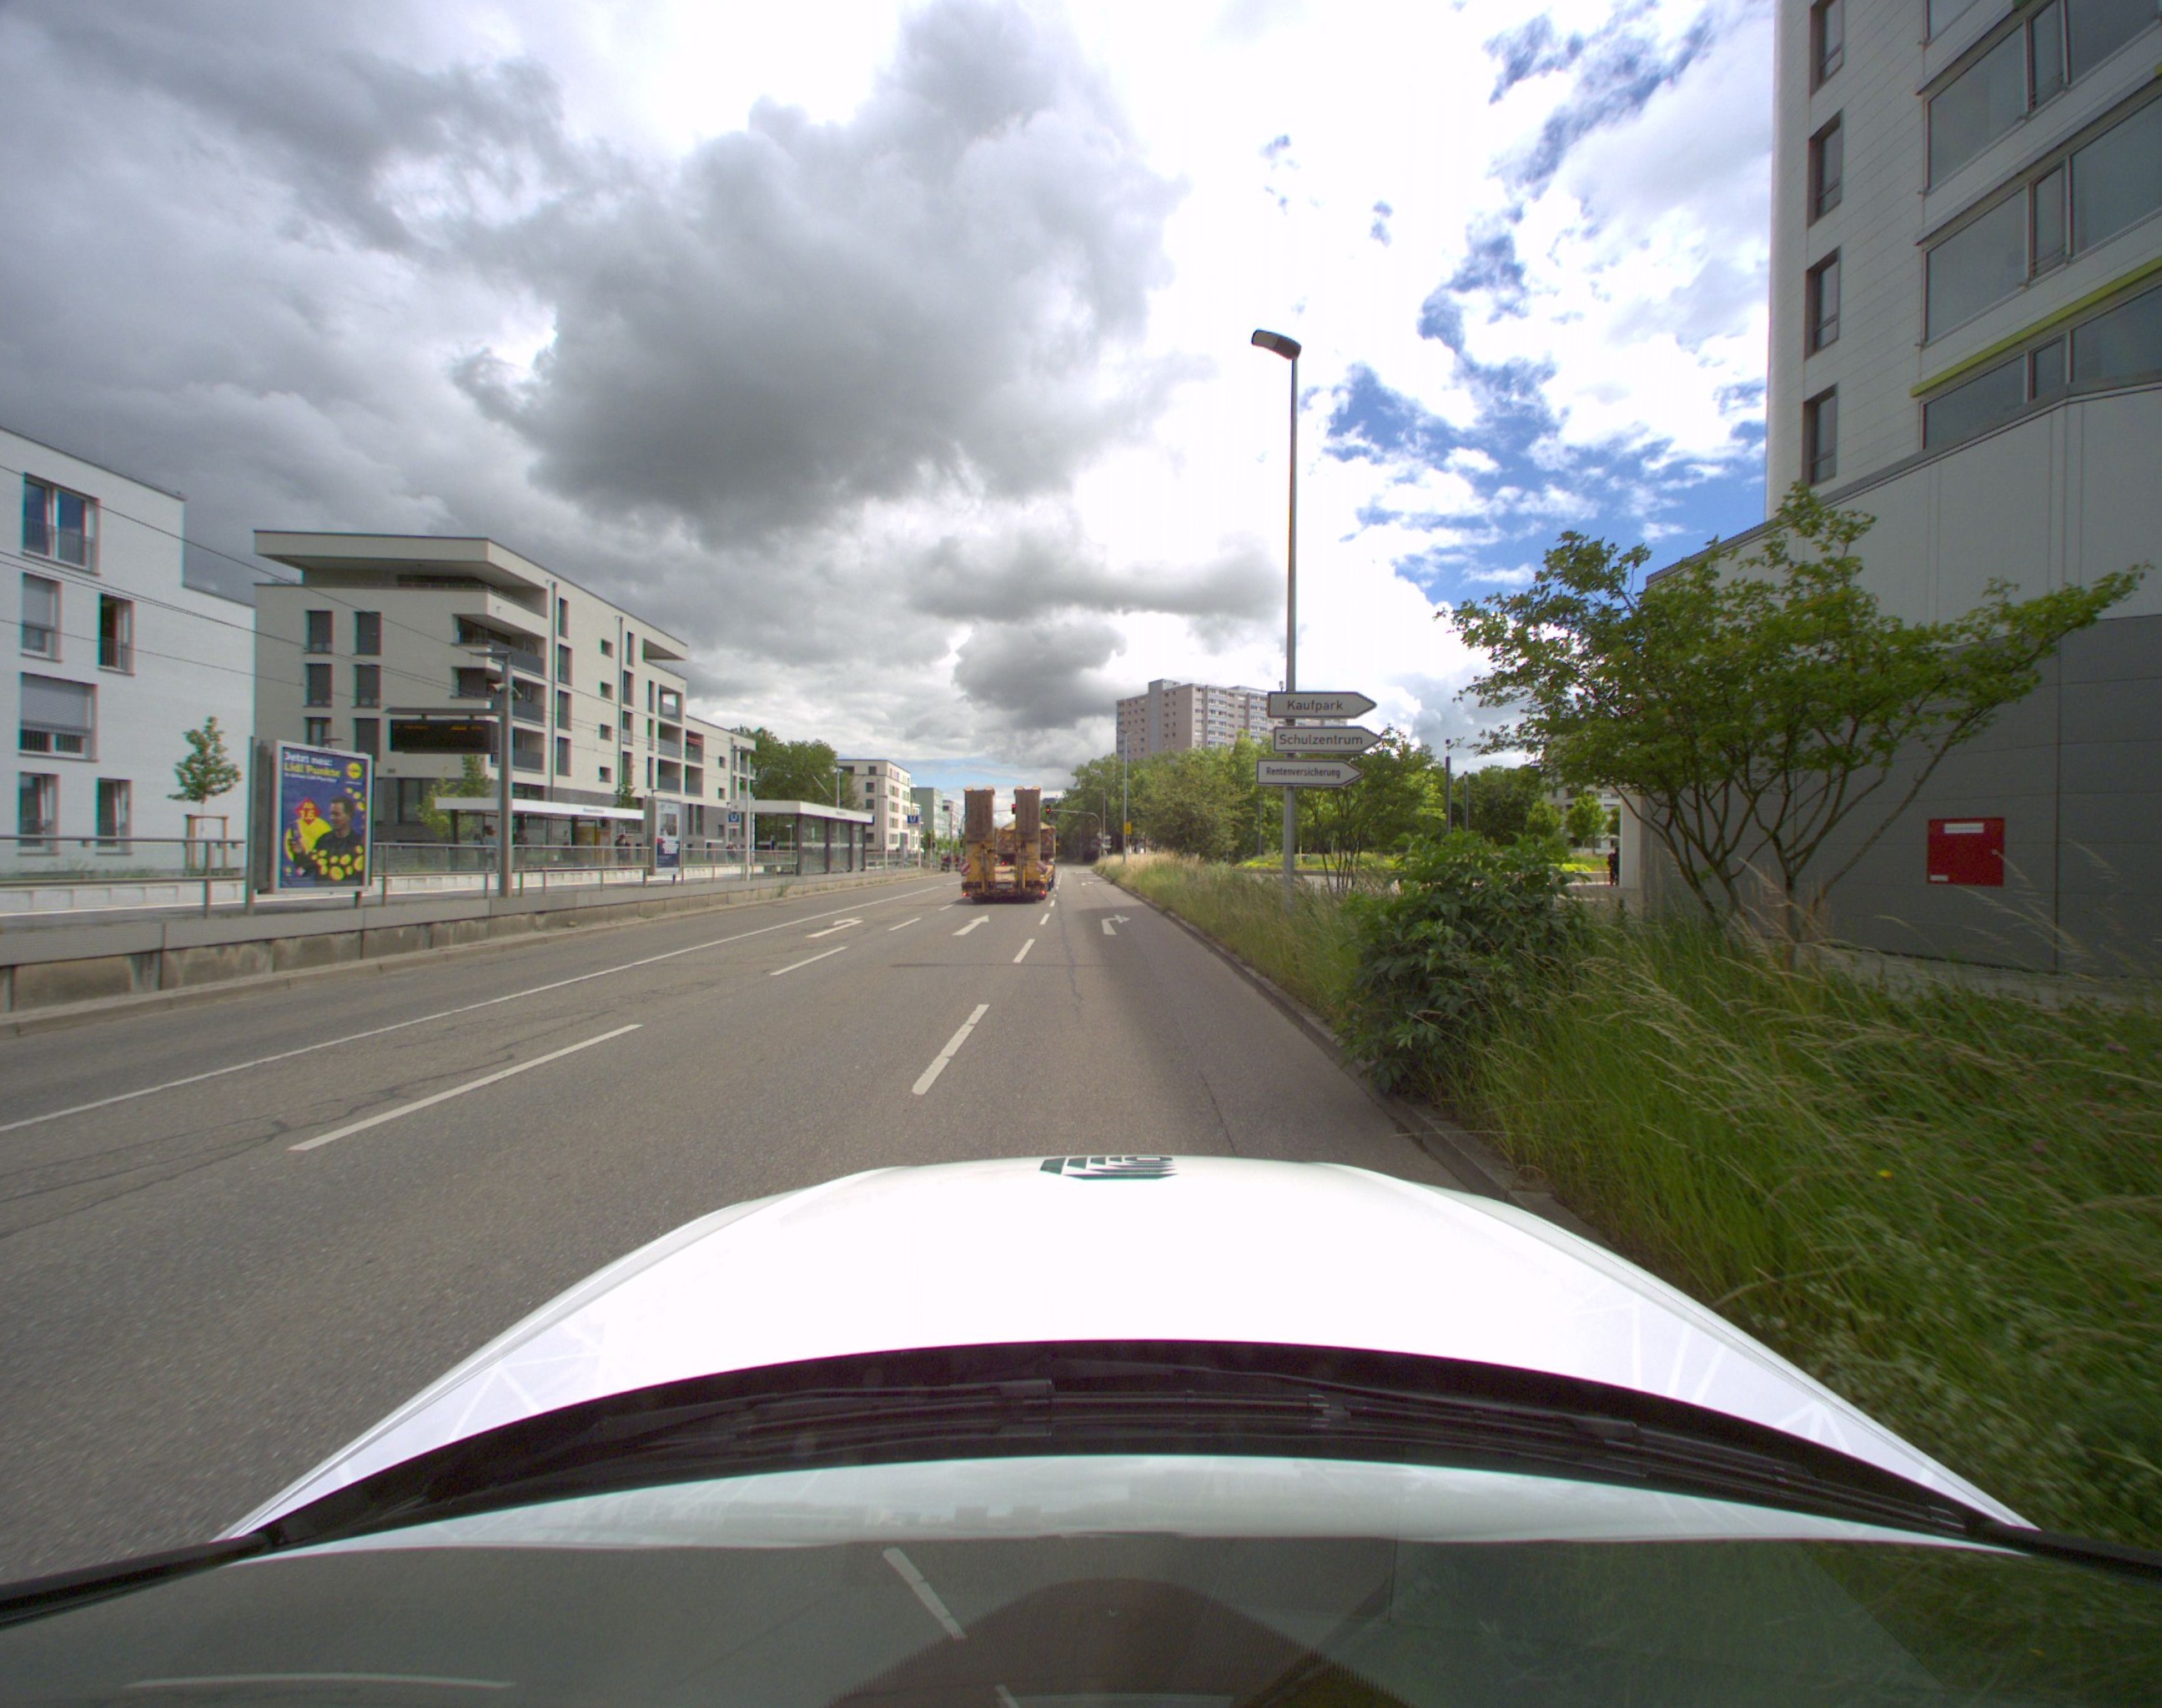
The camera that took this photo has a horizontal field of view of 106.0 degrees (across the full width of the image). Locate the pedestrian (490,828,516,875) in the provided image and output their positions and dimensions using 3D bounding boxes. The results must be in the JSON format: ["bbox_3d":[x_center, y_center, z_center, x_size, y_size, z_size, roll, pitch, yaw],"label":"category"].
[{"bbox_3d":[-22.226,-0.097,31.333,0.482,1.766,0.682,0,-1,33],"label":"pedestrian"}]

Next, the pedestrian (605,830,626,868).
[{"bbox_3d":[-22.270,-0.240,38.962,0.559,1.766,0.678,0,-1,0],"label":"pedestrian"}]

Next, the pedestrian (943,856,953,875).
[{"bbox_3d":[-12.003,1.037,73.586,0.818,1.668,0.683,0,-1,-1],"label":"pedestrian"}]

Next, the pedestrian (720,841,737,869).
[{"bbox_3d":[-22.108,0.078,51.073,0.674,1.766,0.932,0,0,-4],"label":"pedestrian"}]

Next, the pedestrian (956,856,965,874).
[{"bbox_3d":[-11.171,1.000,75.594,0.679,1.603,0.822,0,0,-2],"label":"pedestrian"}]

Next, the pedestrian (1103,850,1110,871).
[{"bbox_3d":[2.442,0.637,77.243,0.561,2.014,0.490,0,-1,-10],"label":"pedestrian"}]

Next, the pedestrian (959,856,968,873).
[{"bbox_3d":[-11.146,1.010,77.348,0.679,1.603,0.822,0,0,-2],"label":"pedestrian"}]

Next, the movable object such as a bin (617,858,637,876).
[{"bbox_3d":[-21.665,0.637,38.875,0.559,0.849,0.678,0,0,0],"label":"movable object such as a bin"}]

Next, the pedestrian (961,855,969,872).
[{"bbox_3d":[-11.216,0.925,78.588,0.679,1.670,0.822,-1,0,-2],"label":"pedestrian"}]

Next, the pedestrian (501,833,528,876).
[{"bbox_3d":[-21.068,0.025,30.271,0.482,1.596,0.682,0,-1,33],"label":"pedestrian"}]

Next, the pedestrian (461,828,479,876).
[{"bbox_3d":[-22.317,-0.071,29.740,0.491,1.725,0.670,1,-1,-36],"label":"pedestrian"}]

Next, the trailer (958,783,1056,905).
[{"bbox_3d":[-2.350,-0.274,29.557,2.721,3.559,11.247,0,0,-1],"label":"trailer"}]

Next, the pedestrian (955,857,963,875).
[{"bbox_3d":[-11.182,1.118,74.779,0.679,1.603,0.822,0,0,-2],"label":"pedestrian"}]

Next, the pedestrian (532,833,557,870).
[{"bbox_3d":[-22.489,-0.112,34.140,0.559,1.554,0.678,0,0,0],"label":"pedestrian"}]

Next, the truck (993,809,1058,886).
[{"bbox_3d":[-2.521,-0.279,39.344,2.746,3.313,8.346,0,0,-1],"label":"truck"}]

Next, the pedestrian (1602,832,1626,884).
[{"bbox_3d":[21.248,0.180,32.472,0.686,2.015,0.611,-3,-7,39],"label":"pedestrian"}]

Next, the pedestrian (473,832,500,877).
[{"bbox_3d":[-21.447,0.021,29.387,0.483,1.596,0.682,0,-1,41],"label":"pedestrian"}]
